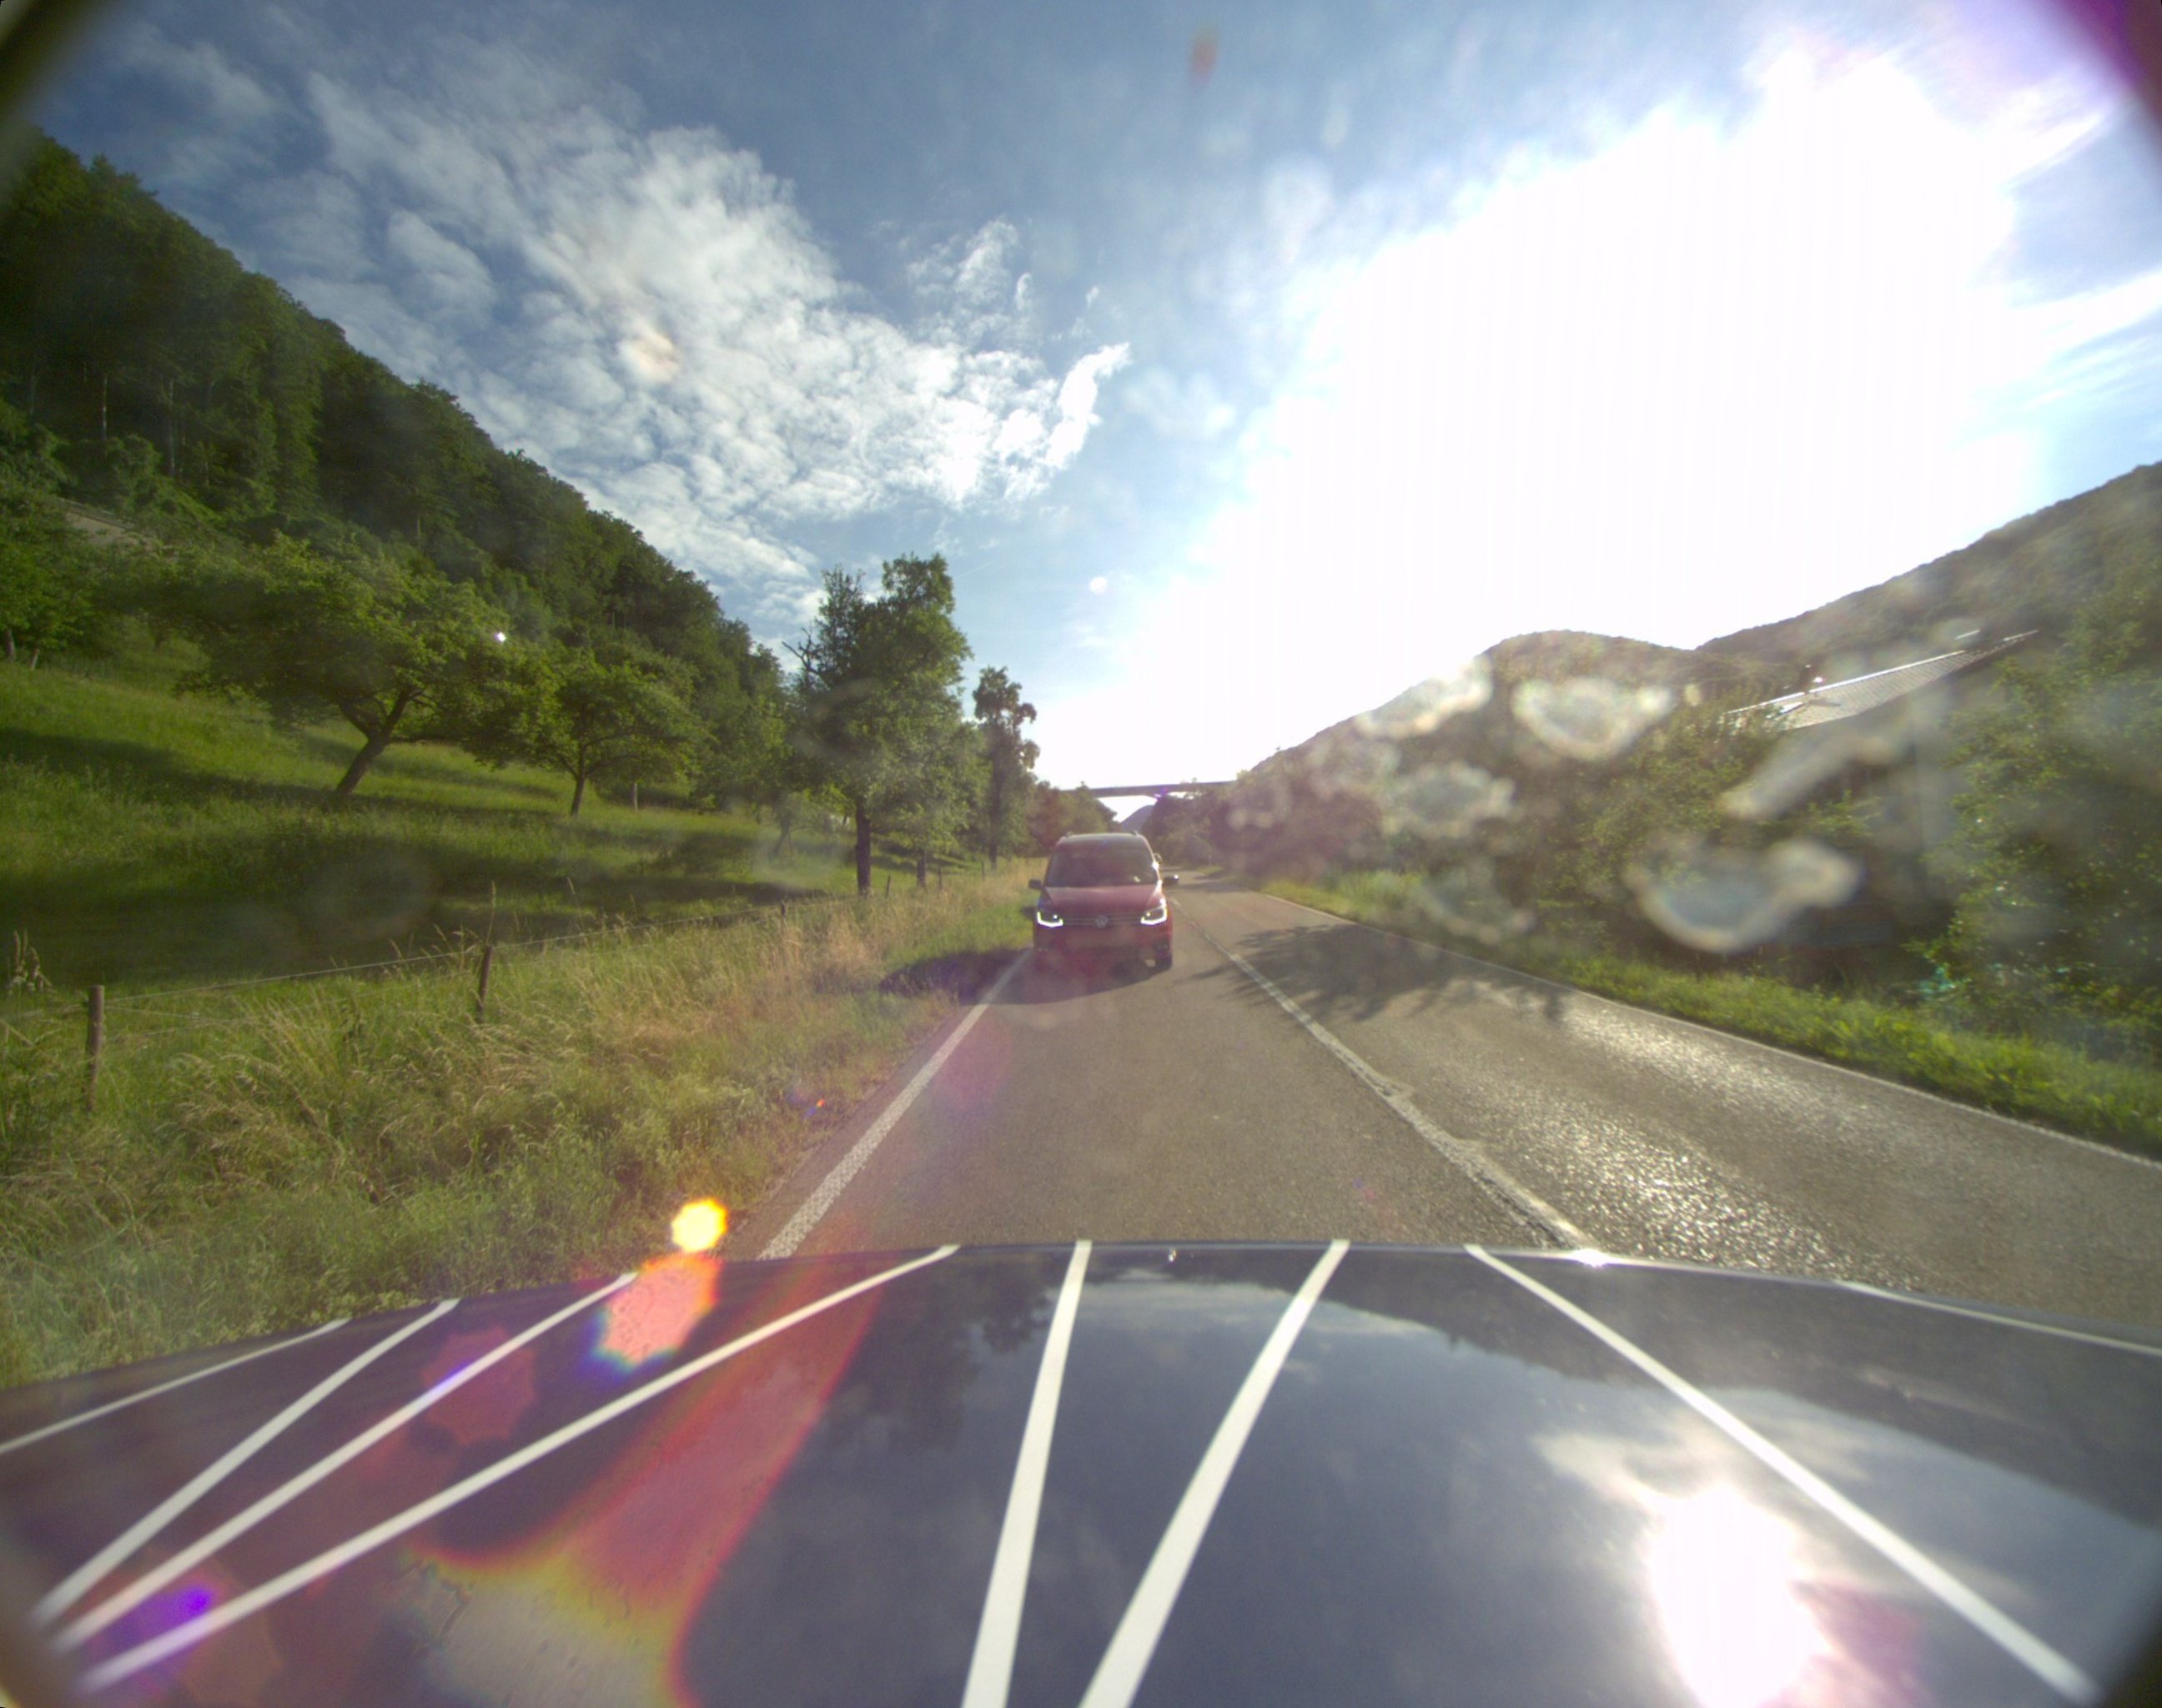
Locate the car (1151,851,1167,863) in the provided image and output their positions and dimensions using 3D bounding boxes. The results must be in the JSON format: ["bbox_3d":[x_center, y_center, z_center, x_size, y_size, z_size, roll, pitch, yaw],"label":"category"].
[{"bbox_3d":[9.450,0.391,92.301,1.696,1.401,3.664,-1,1,3],"label":"car"}]

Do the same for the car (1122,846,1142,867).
[{"bbox_3d":[5.261,0.246,78.929,1.998,2.002,4.000,-2,1,3],"label":"car"}]

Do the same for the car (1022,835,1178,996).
[{"bbox_3d":[0.272,0.695,10.623,1.741,1.803,4.000,-1,0,2],"label":"car"}]
